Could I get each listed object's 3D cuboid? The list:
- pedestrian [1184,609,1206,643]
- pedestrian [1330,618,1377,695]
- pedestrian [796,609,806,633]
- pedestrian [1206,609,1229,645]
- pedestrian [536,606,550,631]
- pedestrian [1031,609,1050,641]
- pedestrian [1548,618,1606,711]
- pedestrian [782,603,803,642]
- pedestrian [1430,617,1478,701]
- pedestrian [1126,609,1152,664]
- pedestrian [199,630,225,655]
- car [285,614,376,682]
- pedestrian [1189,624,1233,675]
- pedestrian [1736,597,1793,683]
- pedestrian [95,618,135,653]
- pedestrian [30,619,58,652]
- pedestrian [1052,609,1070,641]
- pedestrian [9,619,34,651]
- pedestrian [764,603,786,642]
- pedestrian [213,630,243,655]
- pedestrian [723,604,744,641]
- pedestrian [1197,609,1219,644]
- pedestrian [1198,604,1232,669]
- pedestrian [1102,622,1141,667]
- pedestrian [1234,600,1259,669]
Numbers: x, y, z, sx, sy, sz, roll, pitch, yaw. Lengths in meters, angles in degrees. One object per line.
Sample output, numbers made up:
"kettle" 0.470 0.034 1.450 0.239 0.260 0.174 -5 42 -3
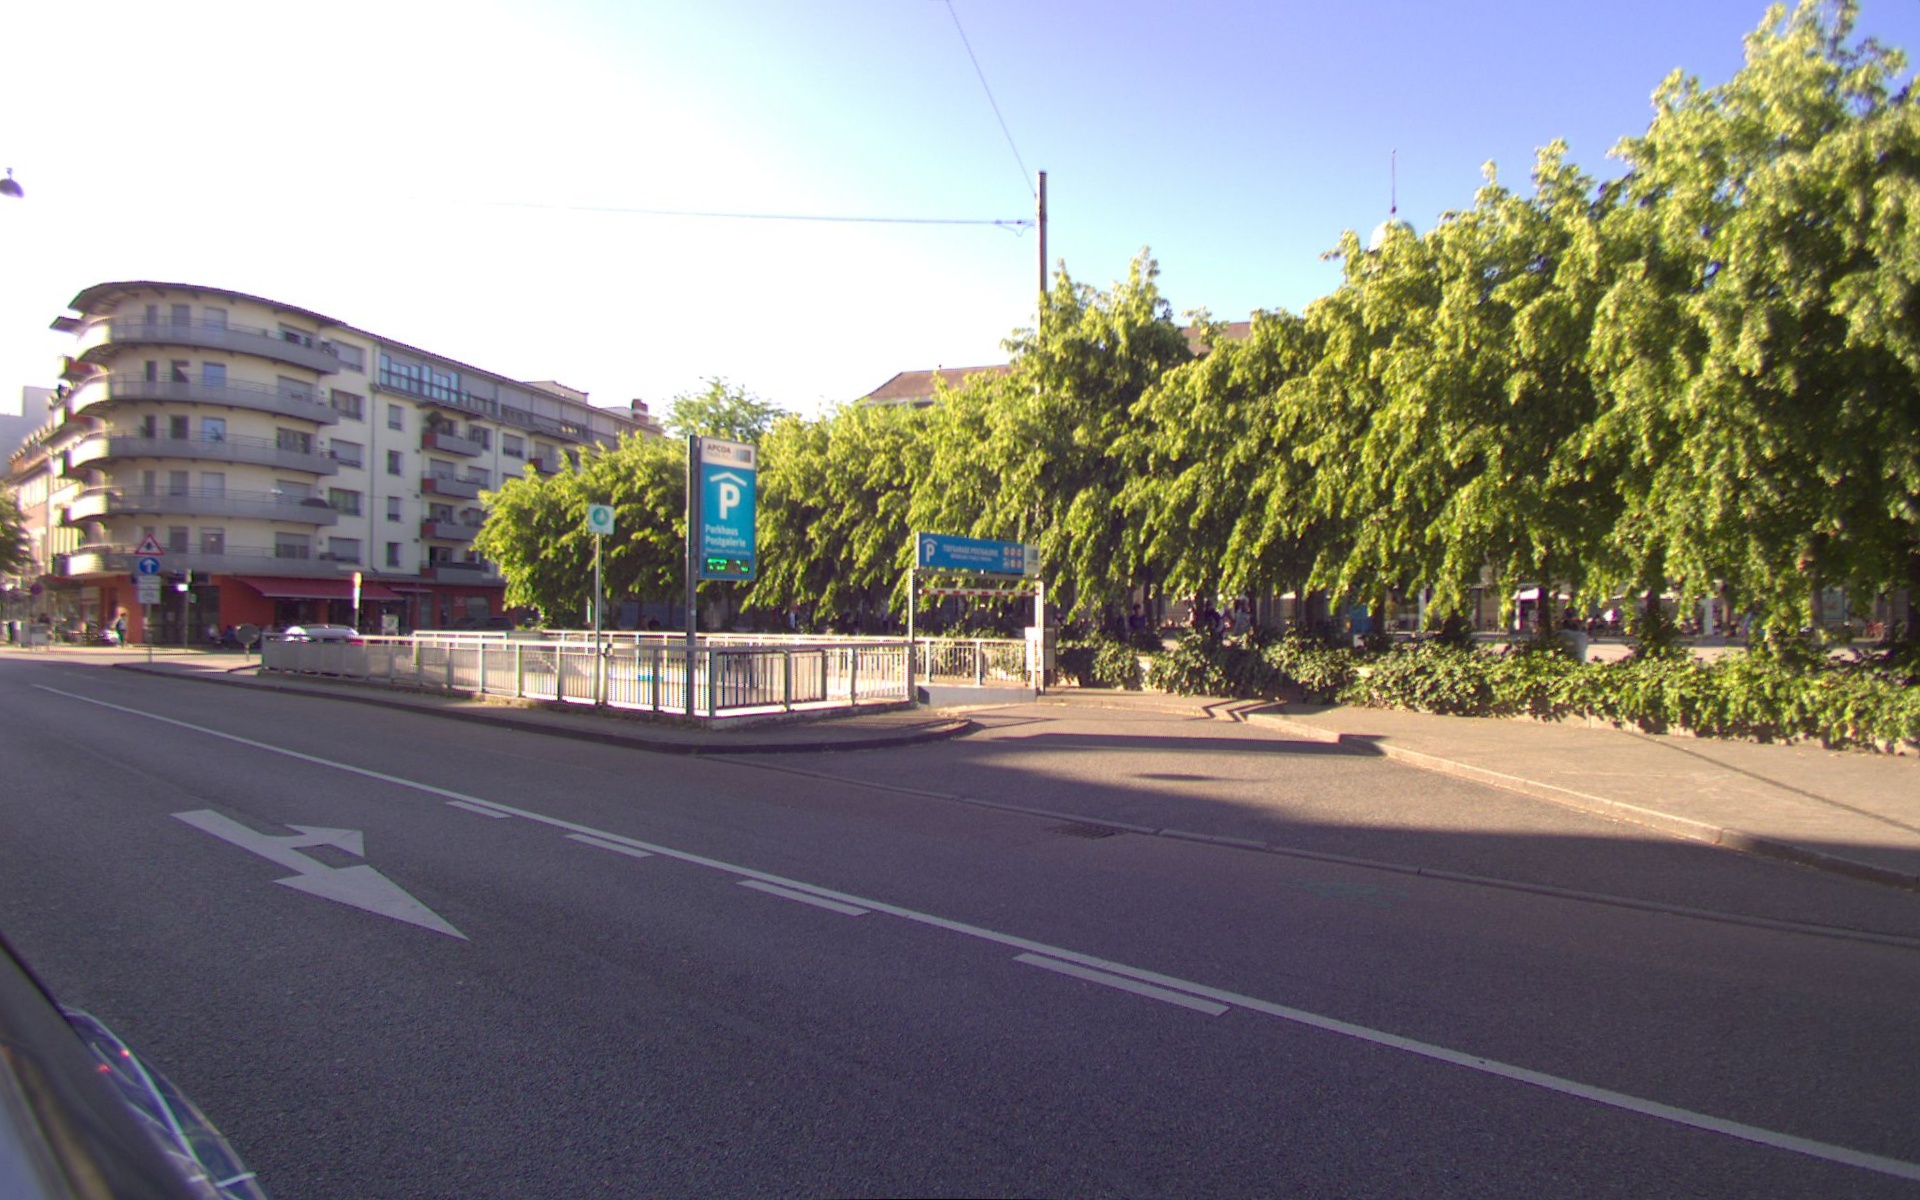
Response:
"pedestrian" 10.728 1.185 46.131 0.674 1.535 0.694 -1 0 -43
"pedestrian" 7.519 1.061 19.355 0.622 1.409 0.644 -1 0 44
"pedestrian" -10.788 1.428 68.675 0.489 1.591 0.491 -1 0 16
"pedestrian" 11.391 1.177 44.703 0.672 1.536 0.696 -1 0 -31
"pedestrian" -31.348 1.402 76.098 0.684 1.857 0.737 -1 0 41
"pedestrian" 3.574 1.120 44.863 0.752 1.385 0.684 -1 0 1
"pedestrian" 9.802 1.013 16.099 0.611 1.447 0.588 -1 0 14
"pedestrian" -8.229 1.102 49.757 0.681 1.857 0.741 -1 0 27
"pedestrian" 8.746 1.026 17.908 0.621 1.447 0.645 -1 0 39
"pedestrian" 4.577 0.931 25.892 0.545 1.385 0.680 -1 0 19
"pedestrian" -37.642 2.138 50.953 0.882 1.207 0.772 -1 0 30
"car" -17.807 1.318 28.527 1.650 1.542 4.259 4 0 -38
"pedestrian" 5.539 1.072 22.343 0.682 1.079 0.686 -1 0 -13
"pedestrian" 14.759 0.725 18.581 0.691 1.532 0.677 -1 0 30
"pedestrian" -41.566 1.751 49.794 1.266 1.678 1.129 -1 0 27
"pedestrian" -51.255 1.980 56.629 0.962 1.762 1.047 -1 0 41
"pedestrian" 4.469 1.108 44.827 0.684 1.385 0.684 -1 0 1
"pedestrian" -53.233 1.975 57.413 1.053 1.732 1.082 -1 0 -43
"pedestrian" -8.977 1.102 49.116 0.681 1.877 0.741 -1 0 27
"pedestrian" -36.821 2.127 50.909 0.827 1.207 0.931 -1 0 16
"pedestrian" -11.275 1.114 50.393 0.679 1.857 0.743 -1 0 19
"pedestrian" 11.143 1.180 45.460 0.672 1.542 0.696 -1 0 -33
"pedestrian" 6.016 0.849 23.864 0.688 1.511 0.680 -1 0 19
"pedestrian" 3.996 1.092 25.045 0.682 1.079 0.686 -1 0 -29
"pedestrian" 6.724 0.799 23.740 0.522 1.594 0.680 -1 0 19
